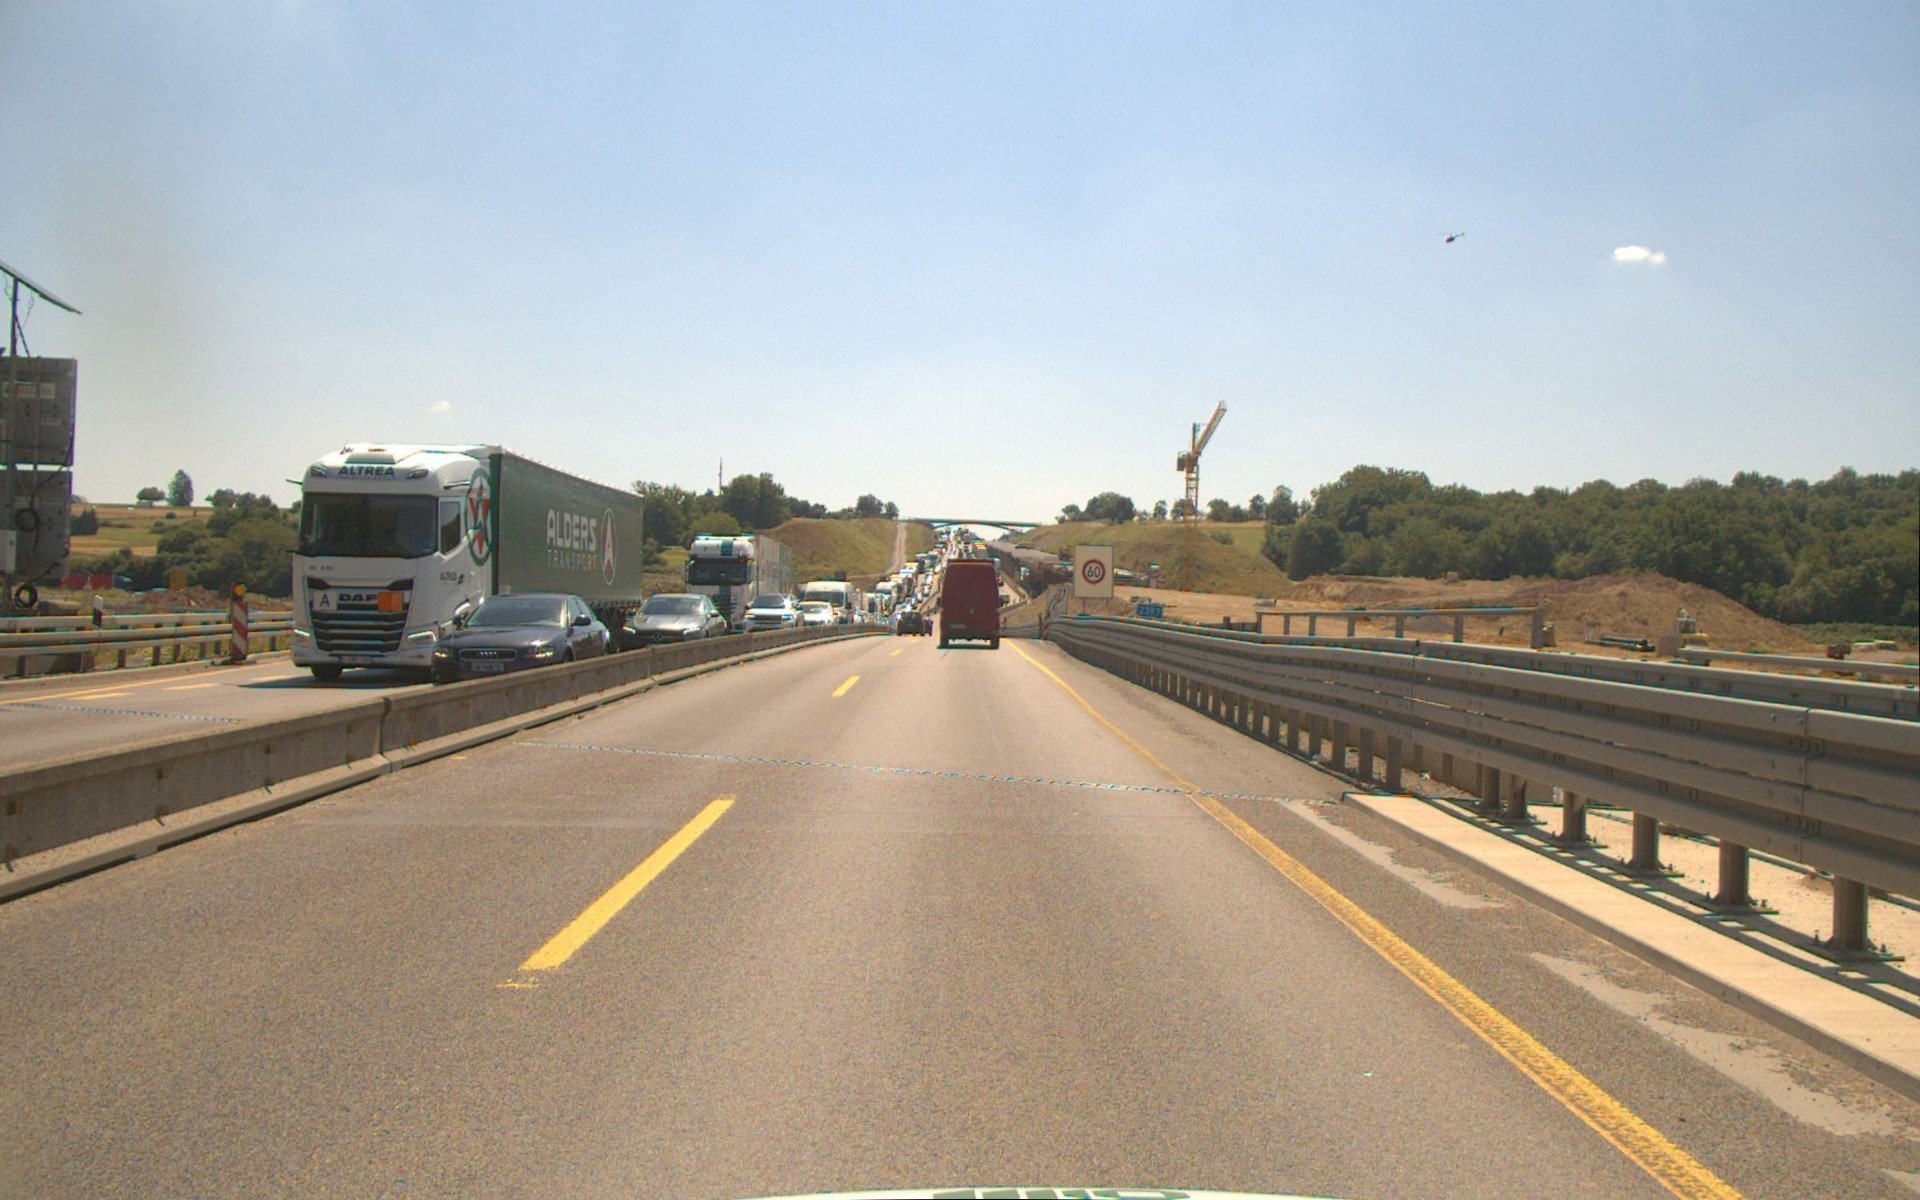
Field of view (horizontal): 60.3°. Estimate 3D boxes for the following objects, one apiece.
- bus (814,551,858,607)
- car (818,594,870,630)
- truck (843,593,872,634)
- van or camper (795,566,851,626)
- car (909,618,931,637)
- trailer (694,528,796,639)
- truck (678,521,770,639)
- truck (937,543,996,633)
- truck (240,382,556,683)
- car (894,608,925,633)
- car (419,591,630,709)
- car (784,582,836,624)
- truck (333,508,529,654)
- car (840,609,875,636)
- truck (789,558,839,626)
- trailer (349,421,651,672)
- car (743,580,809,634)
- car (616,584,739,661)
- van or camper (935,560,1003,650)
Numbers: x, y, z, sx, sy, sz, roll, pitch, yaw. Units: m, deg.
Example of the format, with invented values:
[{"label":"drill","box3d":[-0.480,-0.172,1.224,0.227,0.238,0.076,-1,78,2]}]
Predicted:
[{"label":"bus","box3d":[-10.338,-1.674,138.951,2.684,4.338,14.473,2,0,-1]},{"label":"car","box3d":[-6.207,0.620,89.334,2.323,1.756,5.780,3,0,0]},{"label":"truck","box3d":[-10.992,1.489,176.532,2.919,4.258,5.867,1,-1,-5]},{"label":"van or camper","box3d":[-6.212,-0.194,75.732,2.174,2.555,6.530,2,0,-2]},{"label":"car","box3d":[-3.752,2.591,156.343,1.971,1.572,4.131,2,0,-1]},{"label":"trailer","box3d":[-9.415,-0.588,73.938,2.757,4.508,13.166,0,-1,0]},{"label":"truck","box3d":[-9.405,-0.774,66.425,2.749,4.469,6.225,1,0,0]},{"label":"truck","box3d":[0.298,-0.651,91.463,2.960,4.775,6.929,-1,0,-2]},{"label":"truck","box3d":[-9.543,-1.047,29.072,3.014,4.616,7.103,1,0,0]},{"label":"car","box3d":[-3.357,1.352,109.051,1.971,1.572,4.131,1,0,-2]},{"label":"car","box3d":[-6.053,0.636,23.550,1.741,1.445,4.537,2,0,0]},{"label":"car","box3d":[-5.948,0.107,66.056,1.954,1.524,4.970,2,0,-4]},{"label":"truck","box3d":[-15.255,-0.541,48.472,2.844,3.830,8.368,2,0,1]},{"label":"car","box3d":[-6.184,1.363,99.948,1.844,1.457,5.124,2,0,-1]},{"label":"truck","box3d":[-10.072,-0.453,114.814,2.746,4.225,10.073,2,-2,-2]},{"label":"trailer","box3d":[-9.579,-0.995,36.562,3.038,4.543,13.019,0,0,0]},{"label":"car","box3d":[-6.108,0.215,55.340,1.721,1.675,4.155,2,0,-1]},{"label":"car","box3d":[-6.051,0.457,35.925,1.827,1.484,4.607,3,0,0]},{"label":"van or camper","box3d":[0.247,0.151,54.126,1.988,2.792,4.513,1,0,-2]}]
